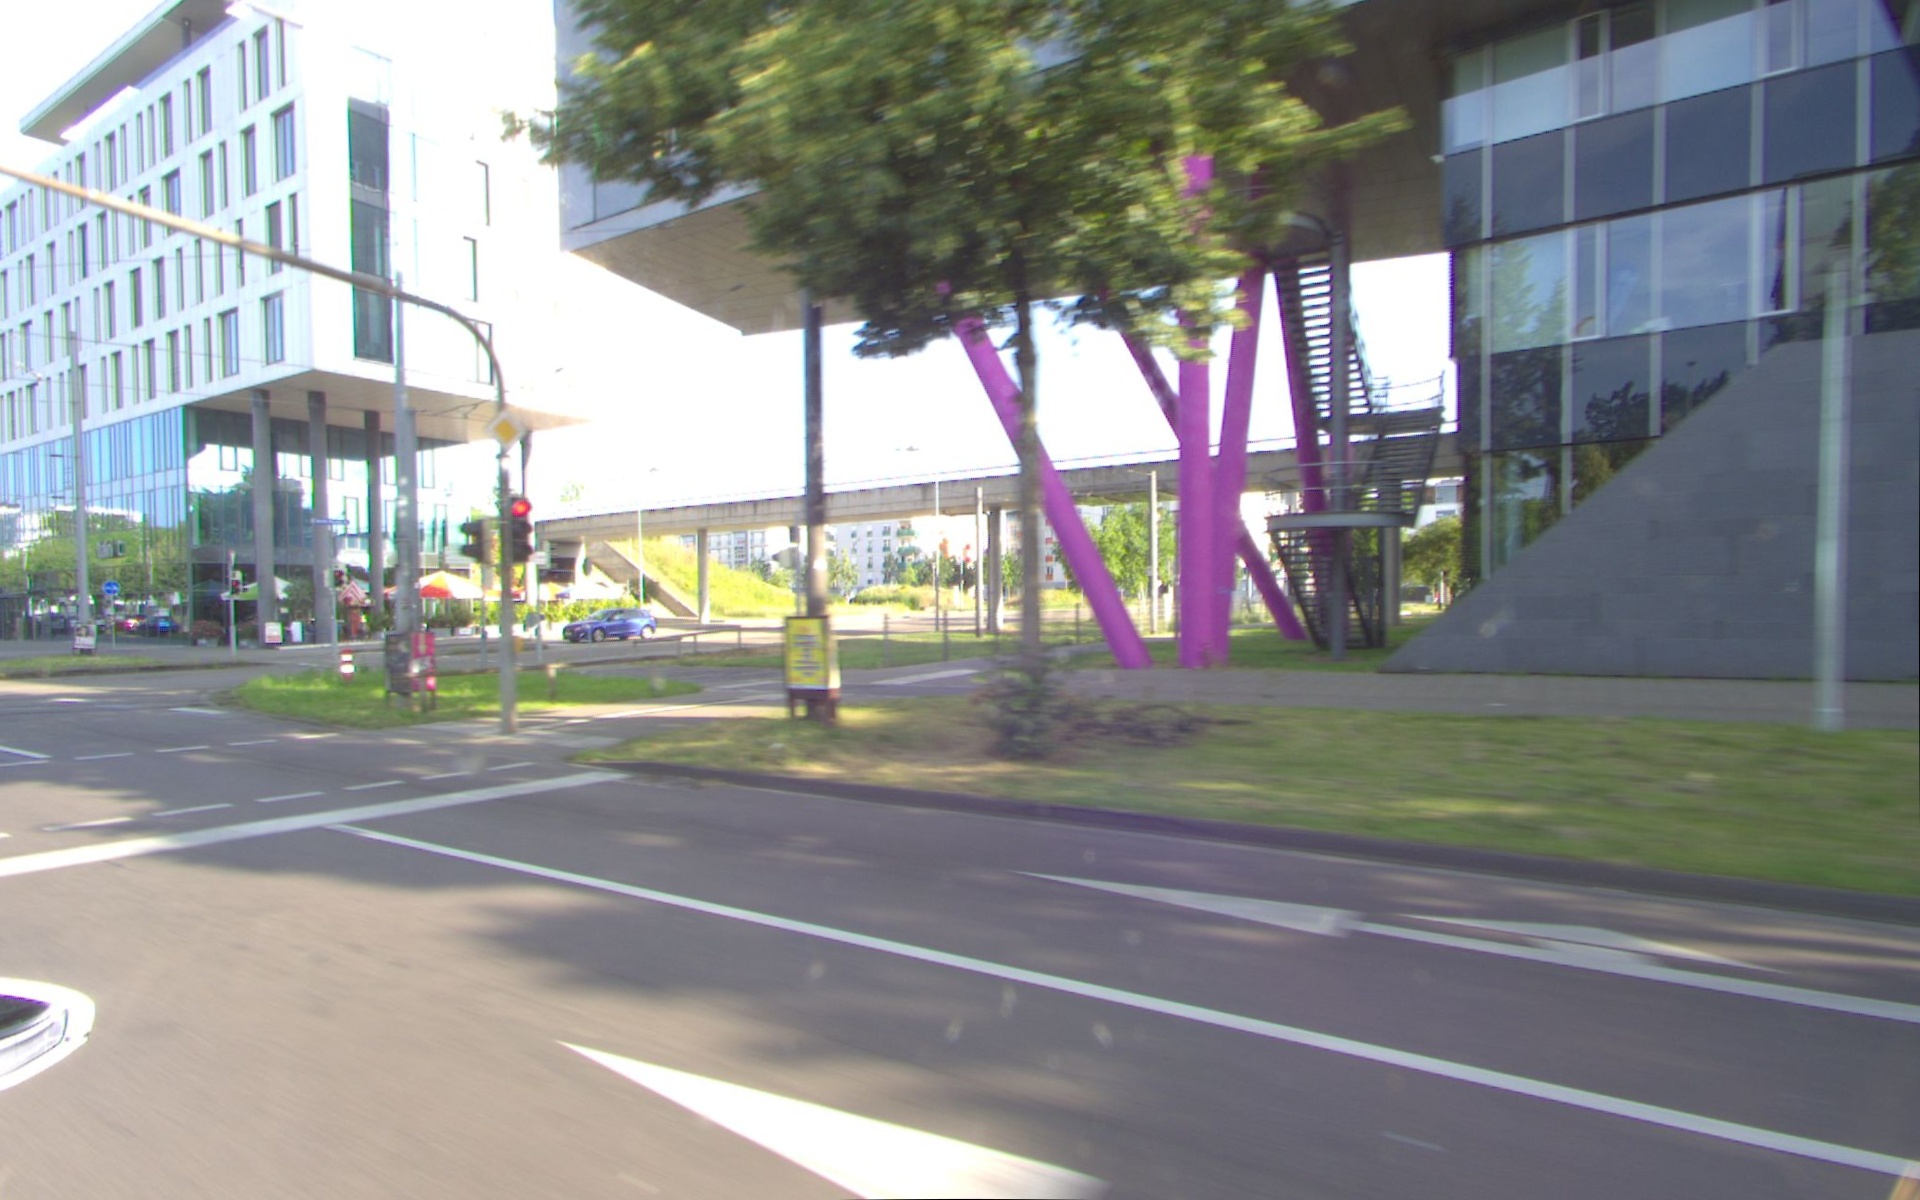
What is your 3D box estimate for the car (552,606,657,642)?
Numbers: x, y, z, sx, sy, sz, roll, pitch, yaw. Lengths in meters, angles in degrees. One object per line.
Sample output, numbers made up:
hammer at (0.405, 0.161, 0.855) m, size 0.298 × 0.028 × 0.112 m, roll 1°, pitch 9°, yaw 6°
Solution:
car at (-15.734, 1.022, 44.466) m, size 1.832 × 1.443 × 4.175 m, roll 0°, pitch 1°, yaw 32°
